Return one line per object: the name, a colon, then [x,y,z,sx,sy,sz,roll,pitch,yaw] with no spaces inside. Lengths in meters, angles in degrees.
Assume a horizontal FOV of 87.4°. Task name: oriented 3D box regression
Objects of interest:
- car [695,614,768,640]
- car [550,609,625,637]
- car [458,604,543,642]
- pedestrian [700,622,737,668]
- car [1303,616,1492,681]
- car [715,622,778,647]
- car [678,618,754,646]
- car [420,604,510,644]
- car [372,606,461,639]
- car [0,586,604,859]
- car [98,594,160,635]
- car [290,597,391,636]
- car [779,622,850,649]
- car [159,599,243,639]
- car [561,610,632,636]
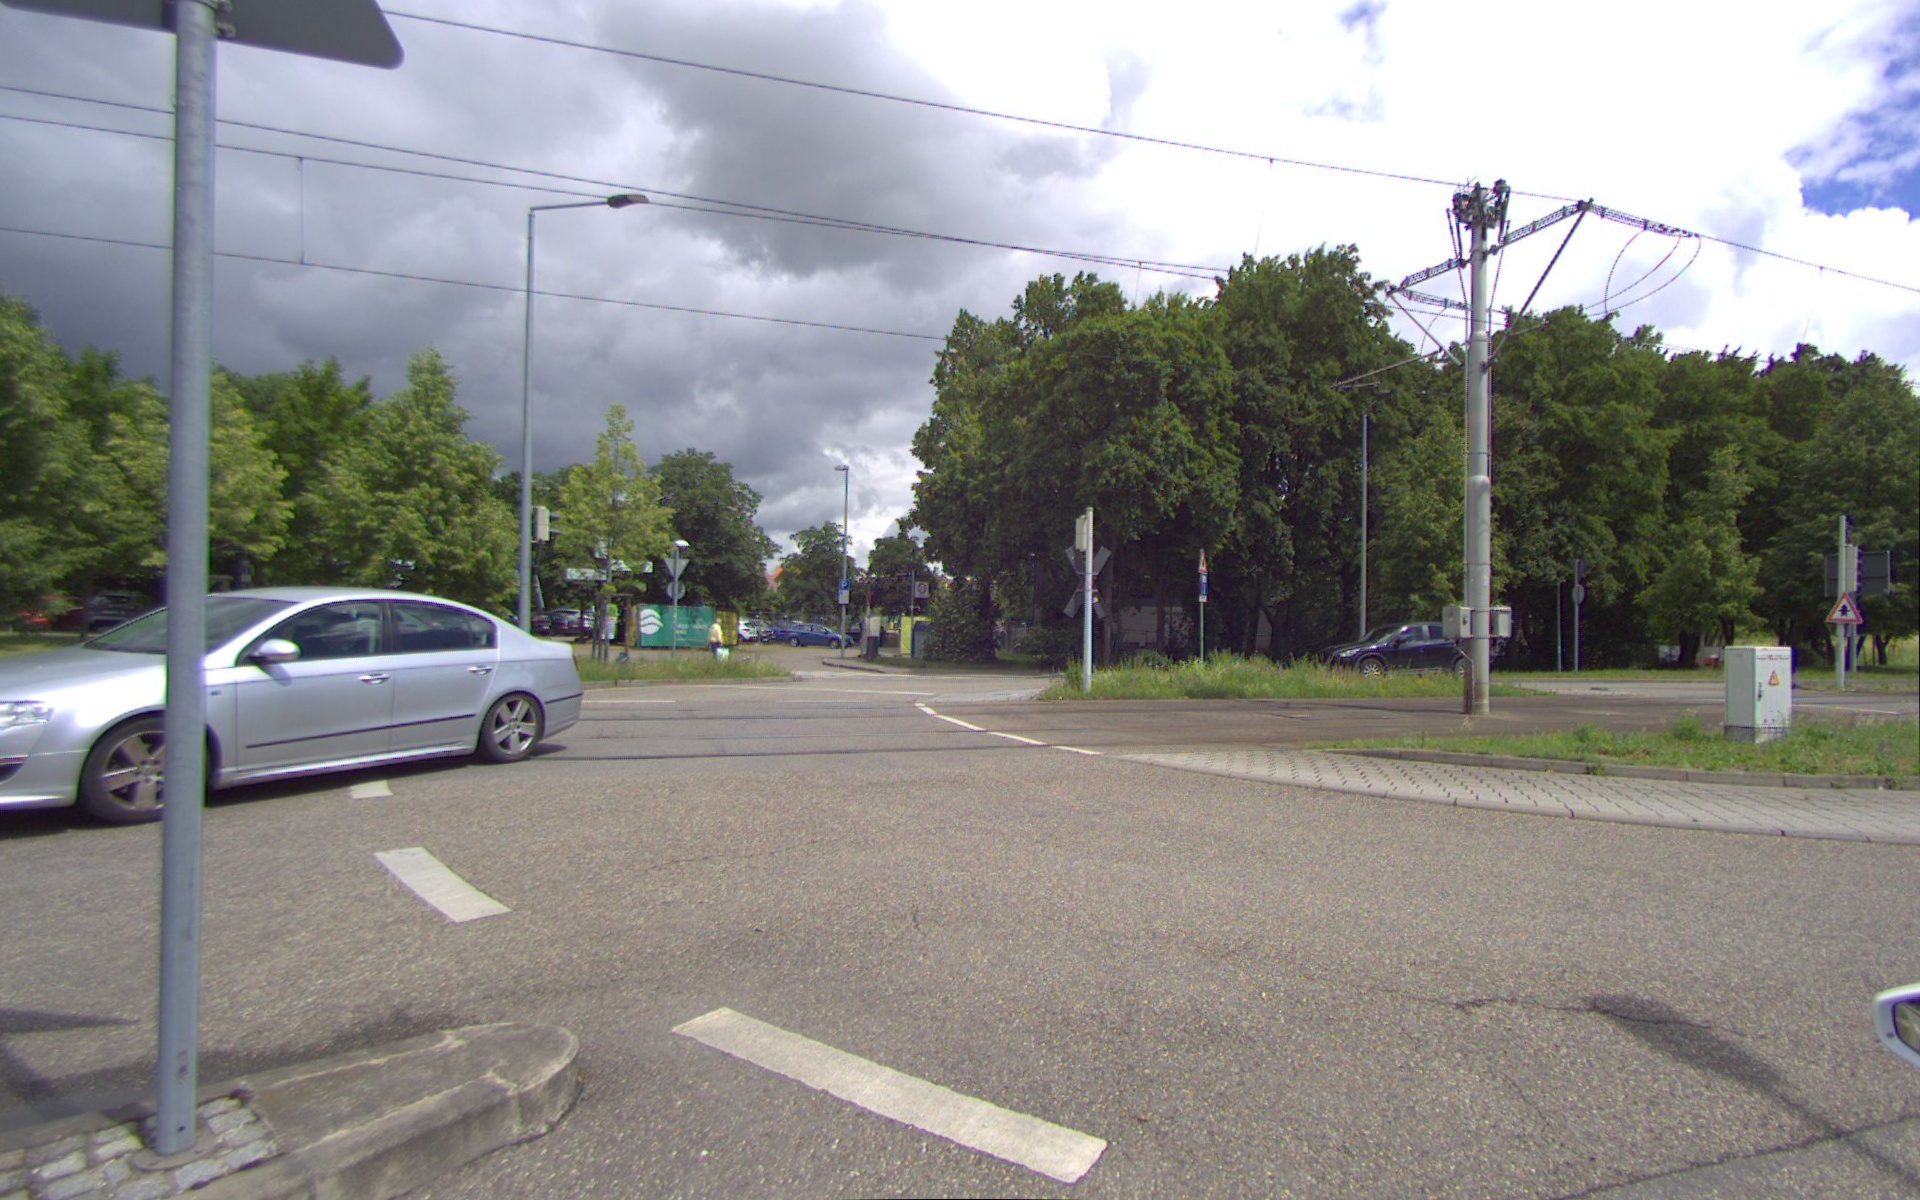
car: [-13.949,1.627,61.410,3.919,1.439,1.759,2,0,12]
car: [-22.932,1.418,61.893,1.964,1.617,3.993,0,-1,30]
car: [-22.335,1.105,48.859,3.519,1.611,1.997,3,-1,29]
pedestrian: [-7.972,1.472,33.123,0.883,1.477,0.747,2,0,38]
car: [11.570,1.286,26.709,4.245,1.606,1.858,1,-2,-7]
car: [-13.390,2.149,63.149,3.518,1.439,1.486,2,0,9]
car: [-14.207,1.864,58.590,3.919,1.439,1.759,2,0,12]
car: [-22.845,1.110,46.352,3.519,1.611,1.997,3,-1,29]
car: [-28.395,1.196,52.555,3.513,1.610,2.001,1,-2,3]
car: [-5.078,0.663,7.575,1.903,1.400,4.660,2,0,21]
car: [-35.195,0.649,42.609,1.612,1.610,3.586,2,-3,-34]
car: [-28.760,0.764,46.653,3.922,1.706,2.000,1,-1,21]
car: [-8.811,2.167,60.972,3.919,1.439,1.608,2,0,9]
car: [-32.952,0.854,43.716,1.602,1.610,3.609,1,-3,-15]
car: [-23.493,1.484,65.028,1.964,1.617,3.993,0,-1,30]
